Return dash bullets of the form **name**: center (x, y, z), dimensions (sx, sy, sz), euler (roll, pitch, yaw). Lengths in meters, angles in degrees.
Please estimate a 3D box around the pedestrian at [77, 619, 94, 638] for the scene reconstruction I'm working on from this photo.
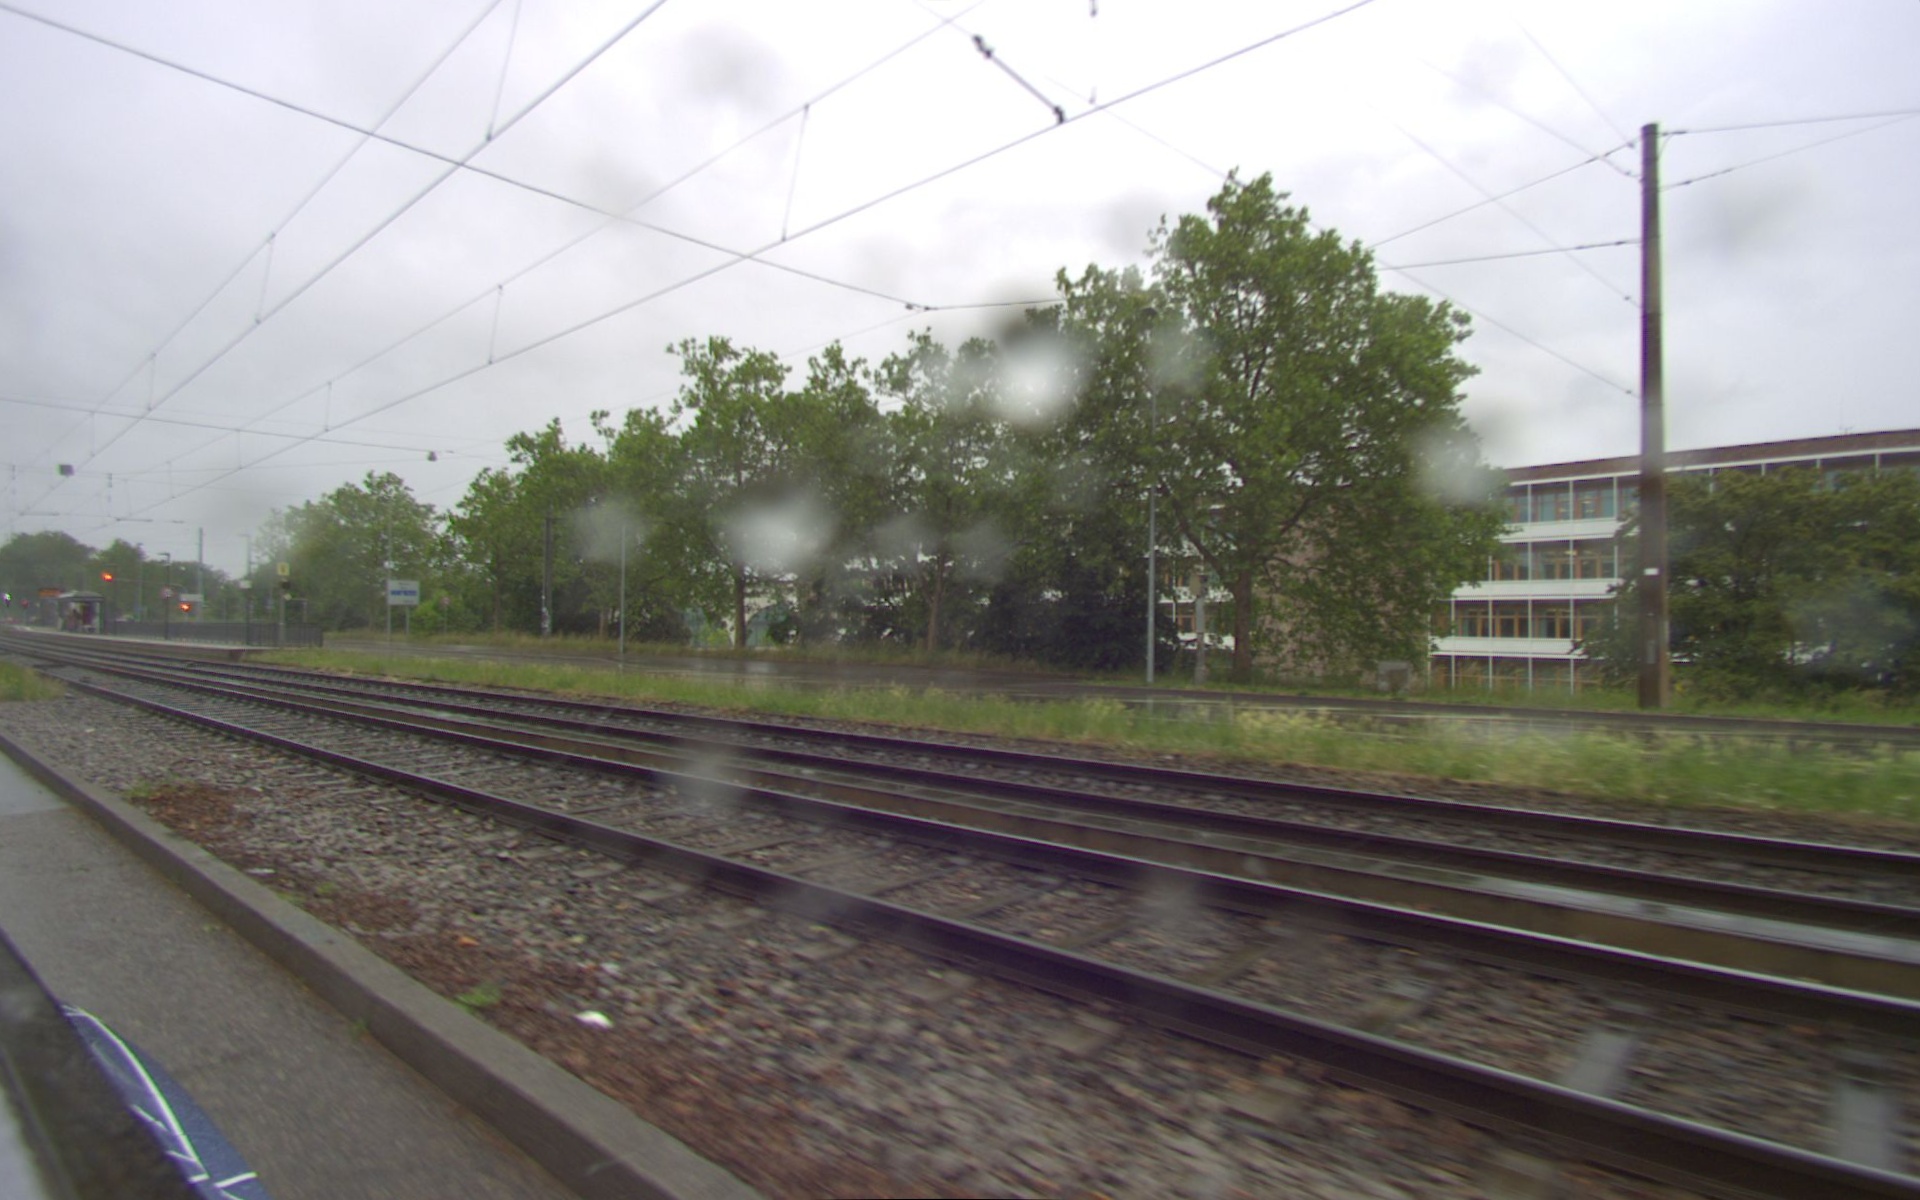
- **pedestrian**: center (-61.503, 1.994, 71.191), dimensions (0.858, 1.326, 0.822), euler (-1, 0, 43)

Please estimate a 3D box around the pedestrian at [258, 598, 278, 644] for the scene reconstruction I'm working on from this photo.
- **pedestrian**: center (-62.244, 1.849, 91.031), dimensions (1.152, 4.059, 1.524), euler (0, -1, -20)

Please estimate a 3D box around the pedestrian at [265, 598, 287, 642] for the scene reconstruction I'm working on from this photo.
- **pedestrian**: center (-63.507, 1.869, 93.990), dimensions (1.514, 4.059, 1.160), euler (0, -1, 32)
